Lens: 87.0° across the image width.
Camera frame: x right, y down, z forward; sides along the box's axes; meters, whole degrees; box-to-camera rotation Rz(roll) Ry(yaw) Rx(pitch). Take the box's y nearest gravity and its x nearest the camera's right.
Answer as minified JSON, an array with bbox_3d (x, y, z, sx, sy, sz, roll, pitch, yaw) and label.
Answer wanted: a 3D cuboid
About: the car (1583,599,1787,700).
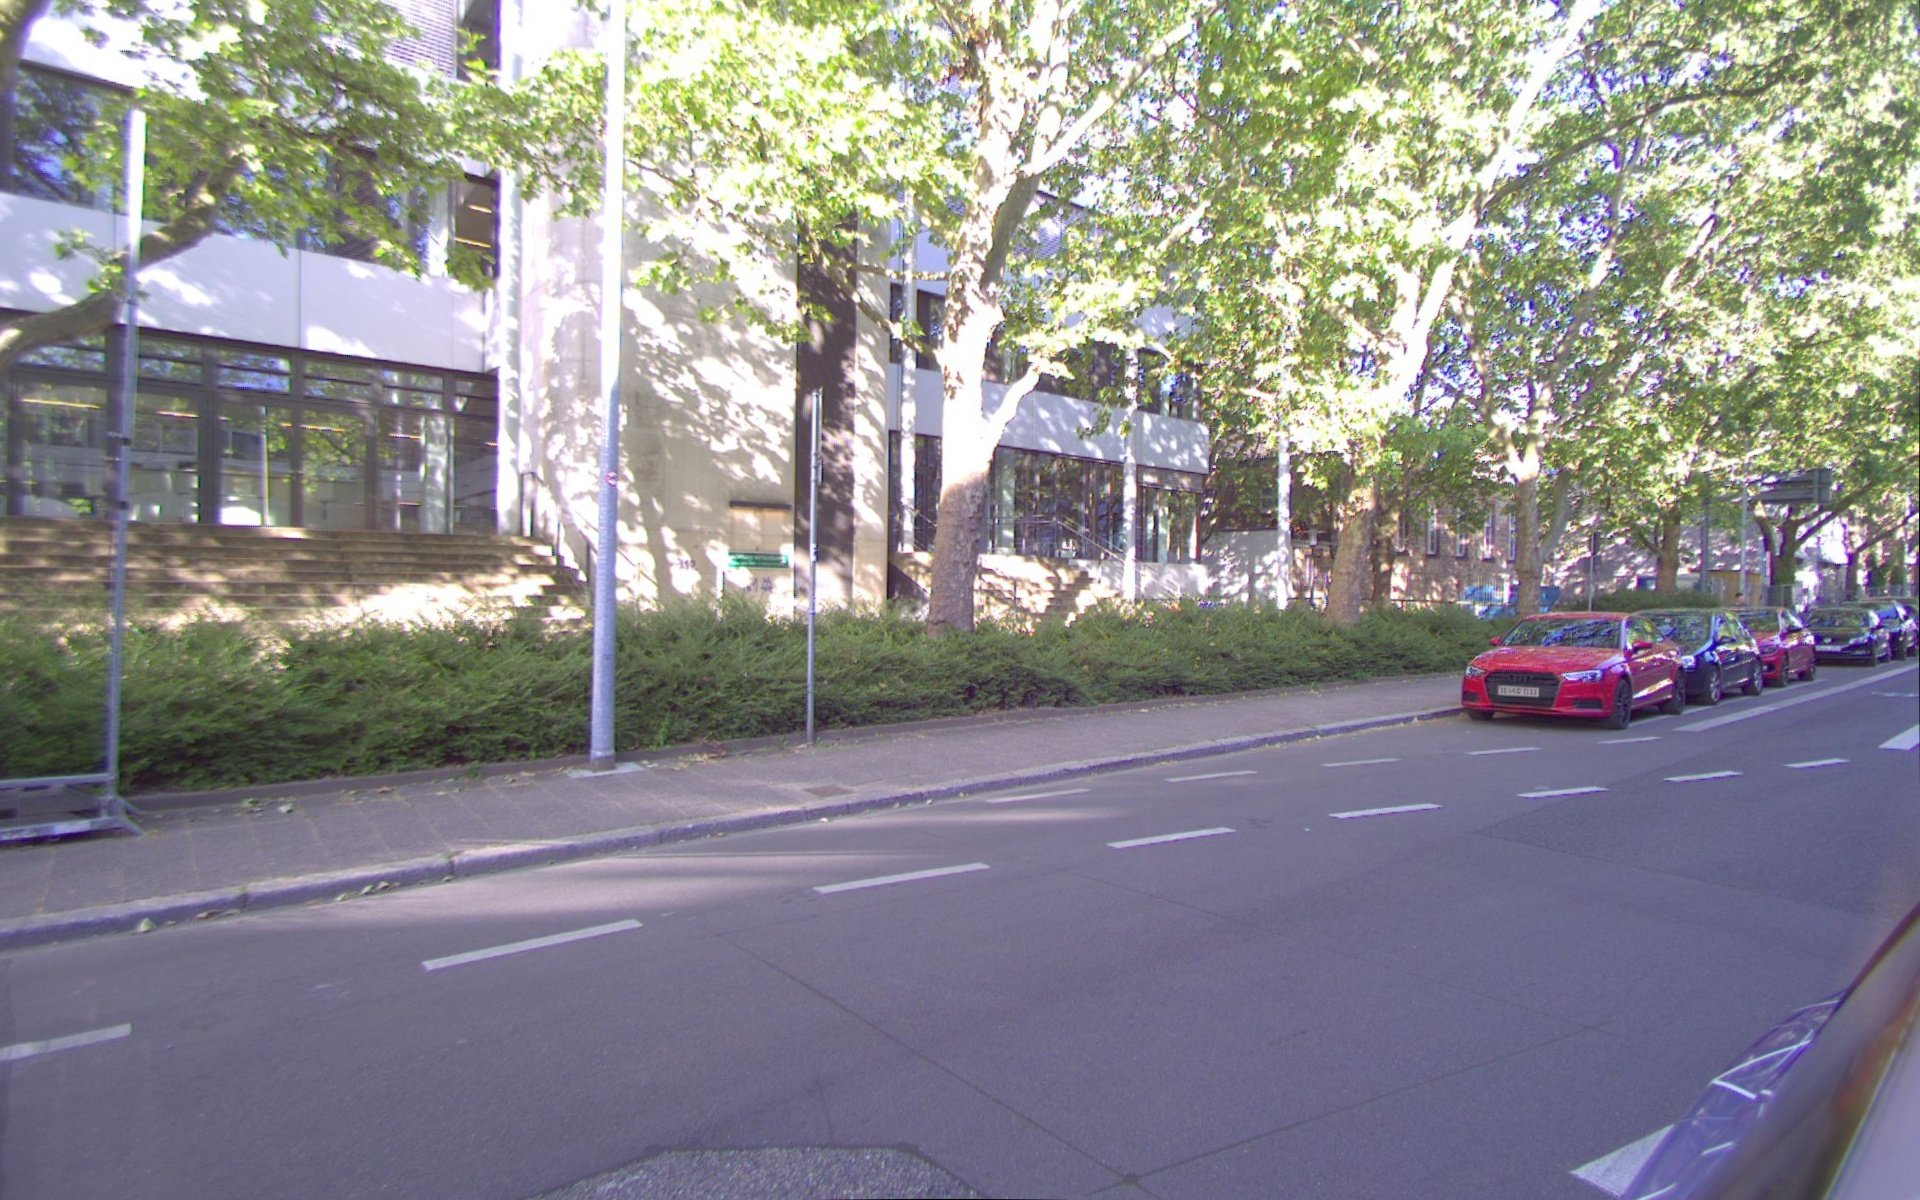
[{"bbox_3d":[12.015,0.714,16.677,4.095,1.464,1.834,0,0,-41],"label":"car"}]

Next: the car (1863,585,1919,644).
[{"bbox_3d":[31.037,0.438,32.967,4.383,1.820,1.834,0,0,-40],"label":"car"}]

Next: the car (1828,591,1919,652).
[{"bbox_3d":[26.552,0.571,29.077,4.088,1.626,1.834,0,0,-40],"label":"car"}]

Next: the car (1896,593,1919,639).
[{"bbox_3d":[35.901,0.581,37.092,4.183,1.634,1.834,0,0,-40],"label":"car"}]

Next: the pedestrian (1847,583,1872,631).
[{"bbox_3d":[35.674,0.267,40.144,0.629,1.884,0.660,0,0,-41],"label":"pedestrian"}]

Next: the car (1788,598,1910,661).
[{"bbox_3d":[22.863,0.700,25.983,4.095,1.486,1.834,0,0,-41],"label":"car"}]

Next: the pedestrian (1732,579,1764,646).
[{"bbox_3d":[21.670,0.338,27.833,0.583,1.818,0.600,0,0,-41],"label":"pedestrian"}]

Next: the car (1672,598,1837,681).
[{"bbox_3d":[15.830,0.705,20.091,4.095,1.486,1.834,0,0,-41],"label":"car"}]

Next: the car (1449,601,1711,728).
[{"bbox_3d":[8.396,0.732,13.560,4.173,1.422,1.834,0,0,-41],"label":"car"}]
